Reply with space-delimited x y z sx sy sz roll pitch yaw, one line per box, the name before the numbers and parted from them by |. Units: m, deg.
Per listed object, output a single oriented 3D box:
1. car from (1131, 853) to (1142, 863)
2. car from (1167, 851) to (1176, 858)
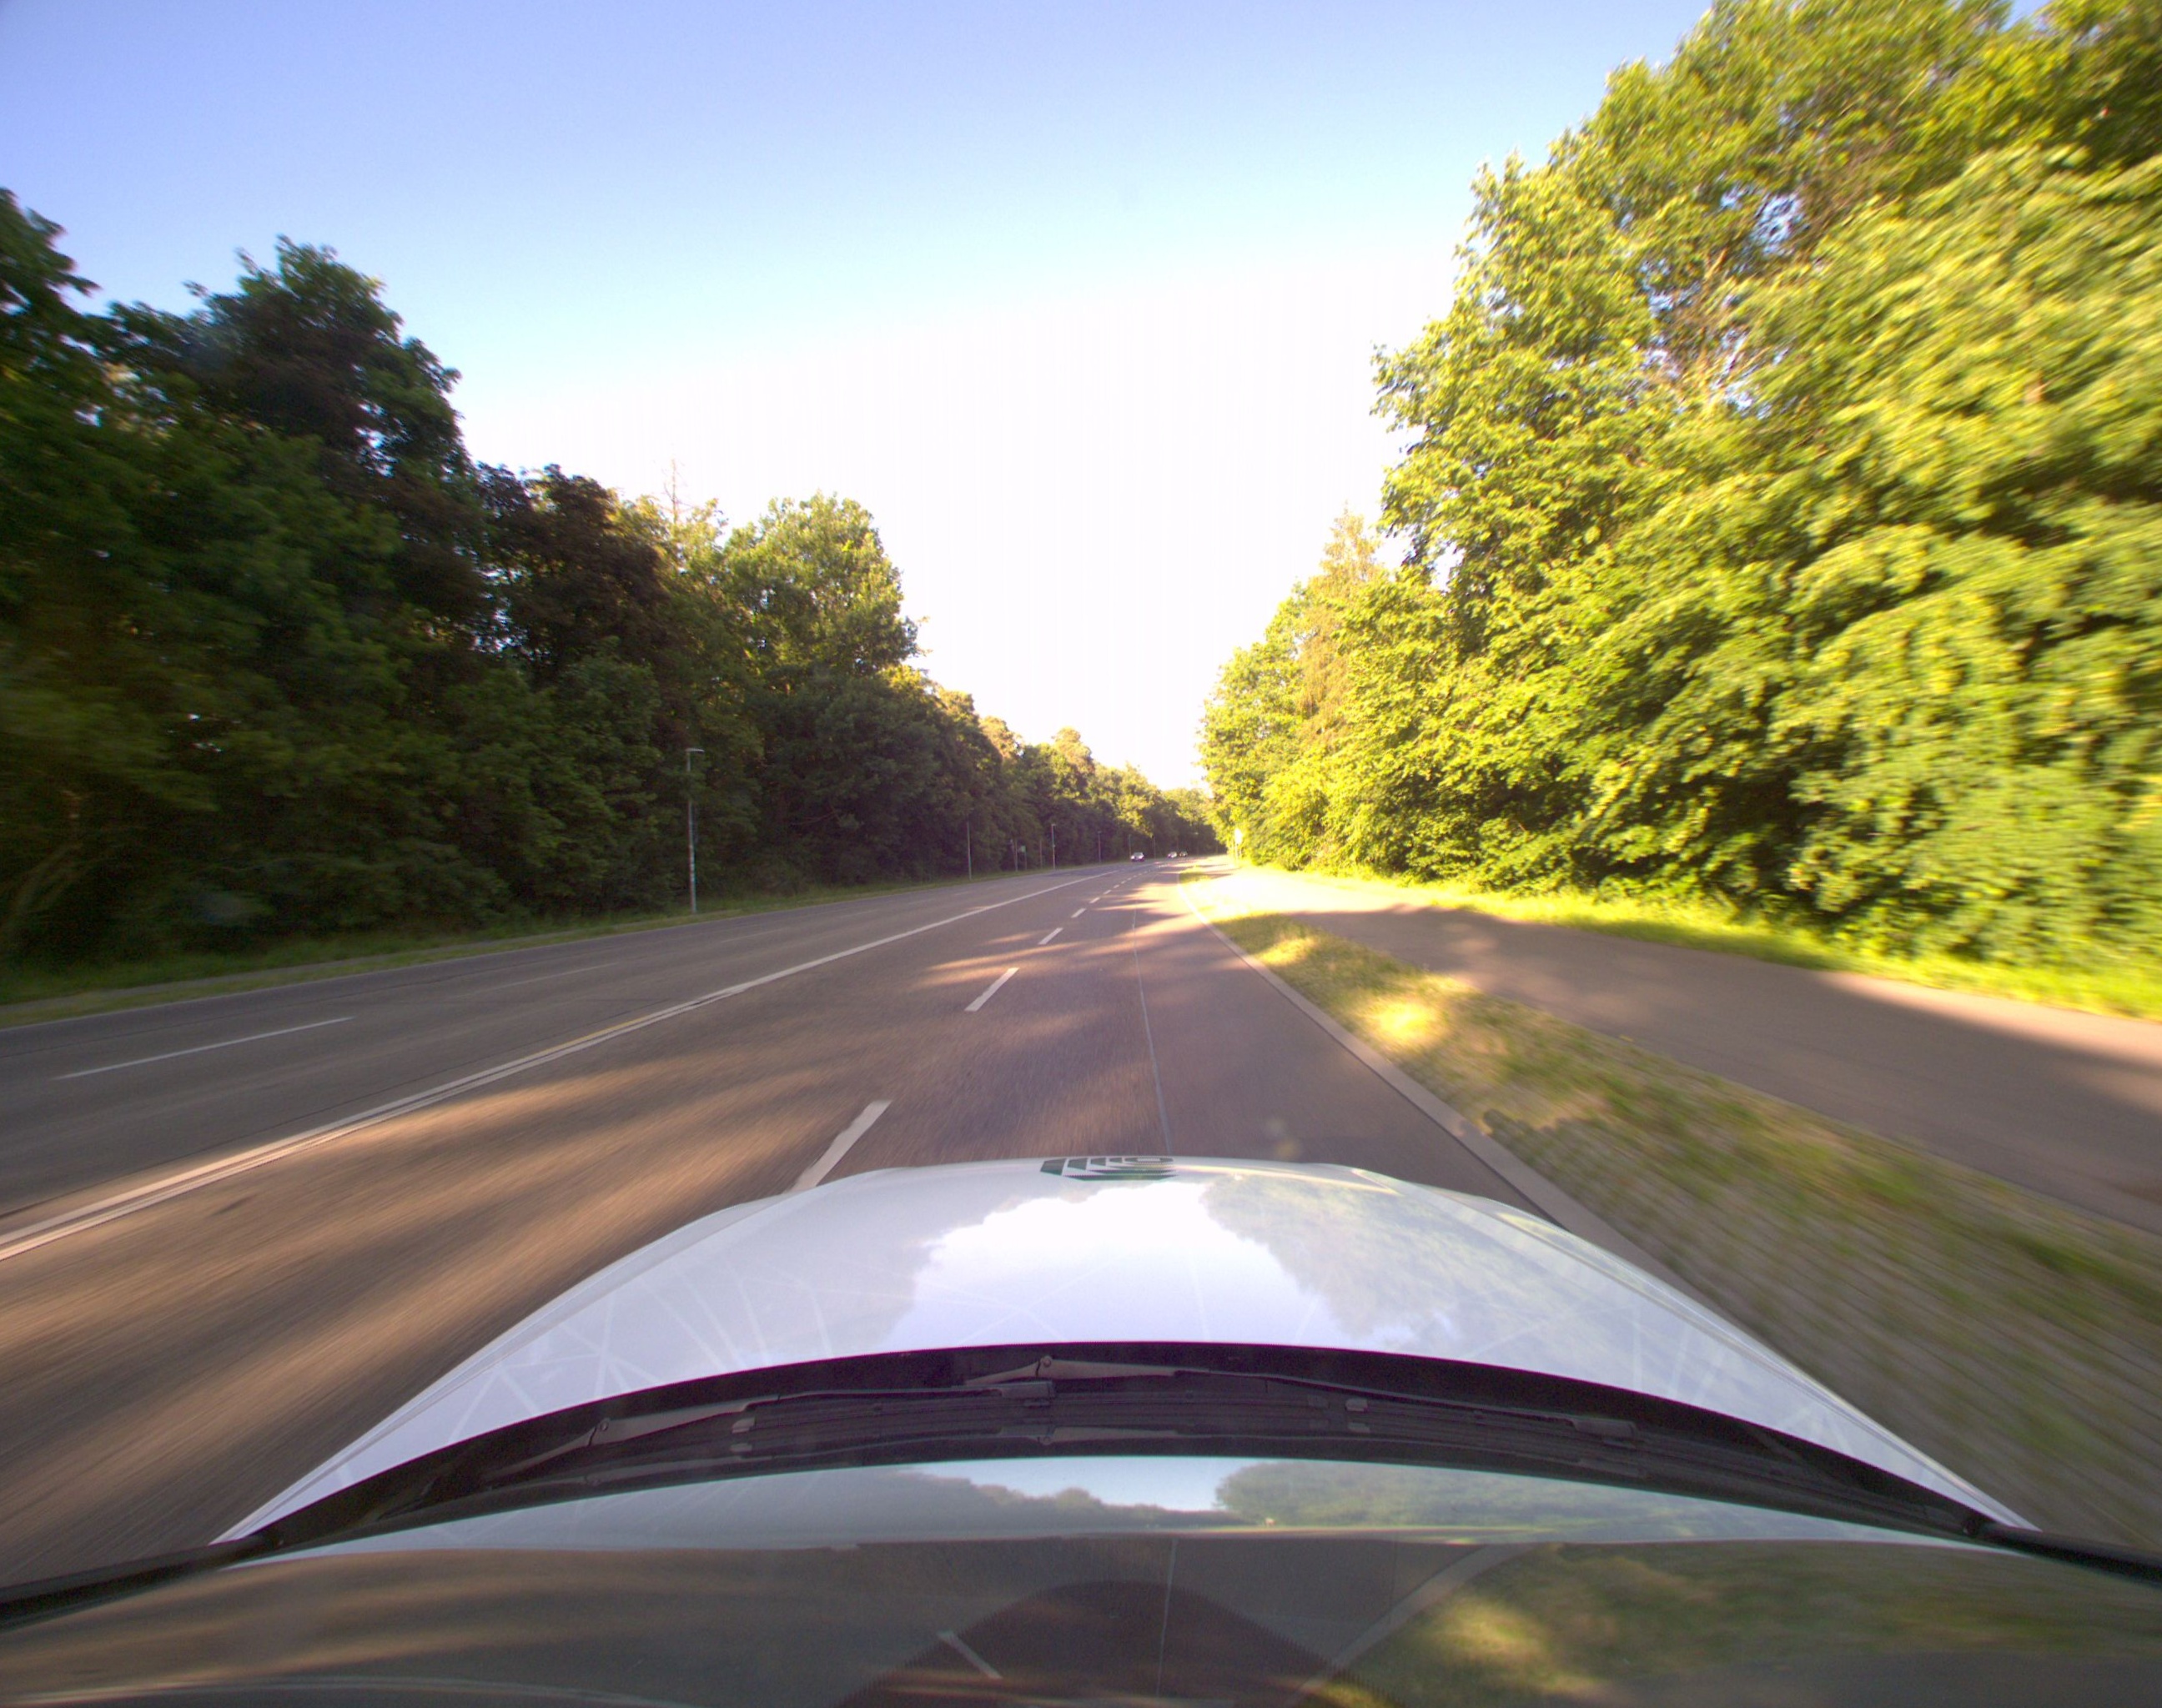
car | 9.627 0.678 141.388 1.985 1.585 4.003 -2 -1 3
car | 21.987 0.033 197.721 1.982 1.585 4.010 -2 -1 9
